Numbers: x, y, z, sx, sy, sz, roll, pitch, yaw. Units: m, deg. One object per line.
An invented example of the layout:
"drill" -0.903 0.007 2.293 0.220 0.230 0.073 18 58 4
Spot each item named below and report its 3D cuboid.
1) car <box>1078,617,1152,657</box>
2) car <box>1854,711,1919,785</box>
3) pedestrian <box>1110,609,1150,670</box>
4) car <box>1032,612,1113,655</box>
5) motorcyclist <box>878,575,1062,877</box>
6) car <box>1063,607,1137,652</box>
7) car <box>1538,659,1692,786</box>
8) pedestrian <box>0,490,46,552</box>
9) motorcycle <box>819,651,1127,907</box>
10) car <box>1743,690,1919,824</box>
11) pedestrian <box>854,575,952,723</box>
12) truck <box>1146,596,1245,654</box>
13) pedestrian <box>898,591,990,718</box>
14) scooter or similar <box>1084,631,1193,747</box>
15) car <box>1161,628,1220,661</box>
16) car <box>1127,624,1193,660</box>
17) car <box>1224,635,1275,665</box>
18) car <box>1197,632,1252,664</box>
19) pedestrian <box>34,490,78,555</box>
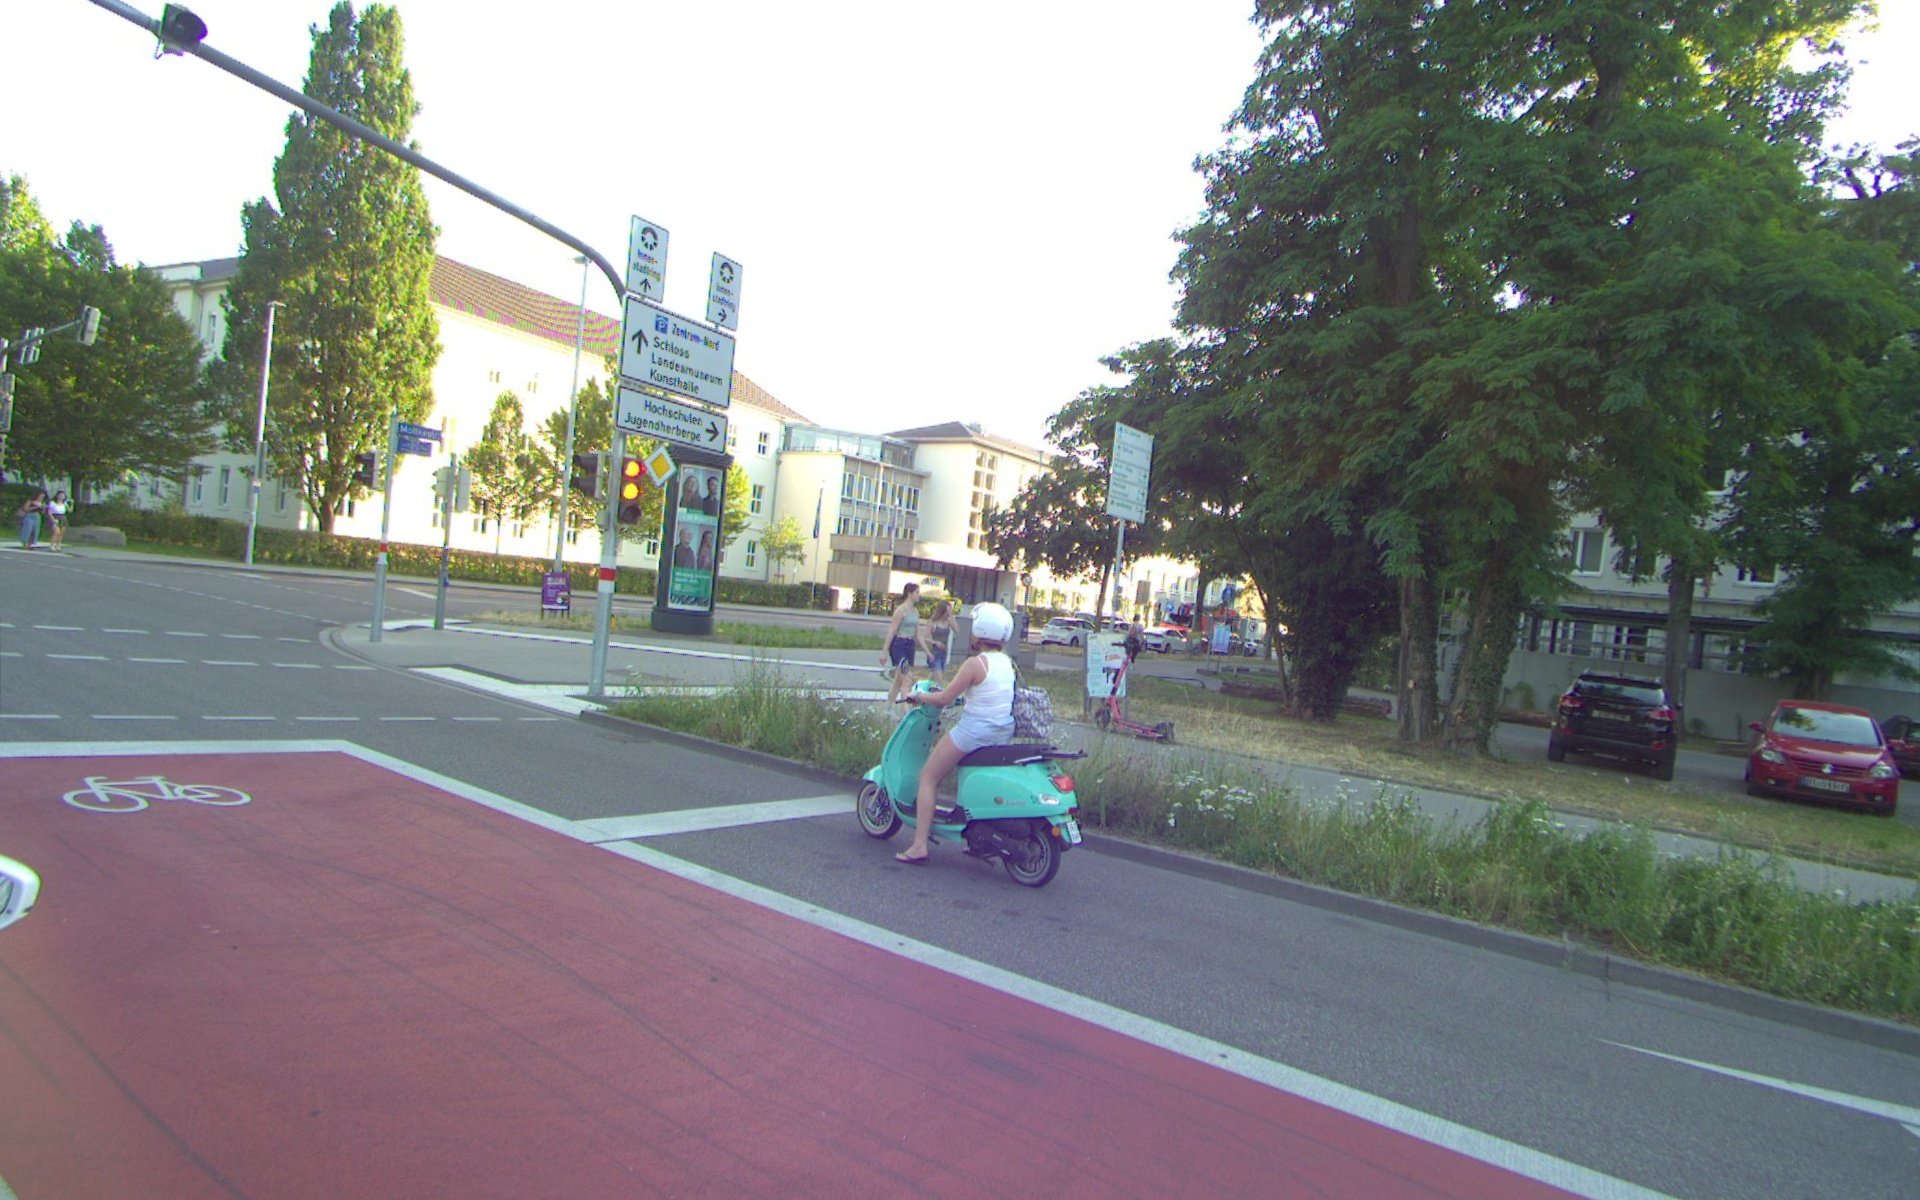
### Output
"car" 7.930 1.910 51.198 1.970 1.632 3.985 7 0 37
"car" 22.994 3.581 24.040 1.742 1.477 3.618 7 0 33
"pedestrian" 5.231 1.221 30.948 0.694 1.761 0.892 7 1 40
"car" 5.363 1.603 47.675 1.872 1.660 3.983 7 0 38
"motorcyclist" 0.070 0.779 6.490 0.680 1.758 0.737 7 1 40
"car" 7.731 1.647 55.274 2.024 1.884 4.486 7 -2 35
"car" 11.767 2.089 17.951 1.890 1.762 4.223 7 0 37
"pedestrian" -26.575 -2.233 28.508 0.831 1.643 0.681 8 2 32
"motorcycle" 0.030 1.065 6.493 1.866 1.212 0.681 7 0 40
"car" 14.049 2.419 16.373 1.890 1.631 3.984 7 0 38
"pedestrian" -0.690 0.590 12.255 0.764 1.681 0.719 7 1 33
"truck" 15.922 1.775 67.364 2.599 3.179 10.243 6 0 35
"pedestrian" -0.210 0.709 13.188 0.776 1.542 0.735 7 1 34
"scooter or similar" 2.257 1.106 12.758 1.159 1.288 0.440 7 1 31
"car" 13.758 2.657 59.937 1.969 1.660 3.987 7 0 35
"car" 11.013 2.318 55.165 1.969 1.660 3.987 7 0 35
"car" 19.653 3.404 68.203 1.969 1.660 3.987 7 0 35
"car" 16.730 3.032 63.525 1.969 1.660 3.987 7 0 35
"pedestrian" -26.175 -2.240 29.118 0.677 1.776 0.681 8 2 31
